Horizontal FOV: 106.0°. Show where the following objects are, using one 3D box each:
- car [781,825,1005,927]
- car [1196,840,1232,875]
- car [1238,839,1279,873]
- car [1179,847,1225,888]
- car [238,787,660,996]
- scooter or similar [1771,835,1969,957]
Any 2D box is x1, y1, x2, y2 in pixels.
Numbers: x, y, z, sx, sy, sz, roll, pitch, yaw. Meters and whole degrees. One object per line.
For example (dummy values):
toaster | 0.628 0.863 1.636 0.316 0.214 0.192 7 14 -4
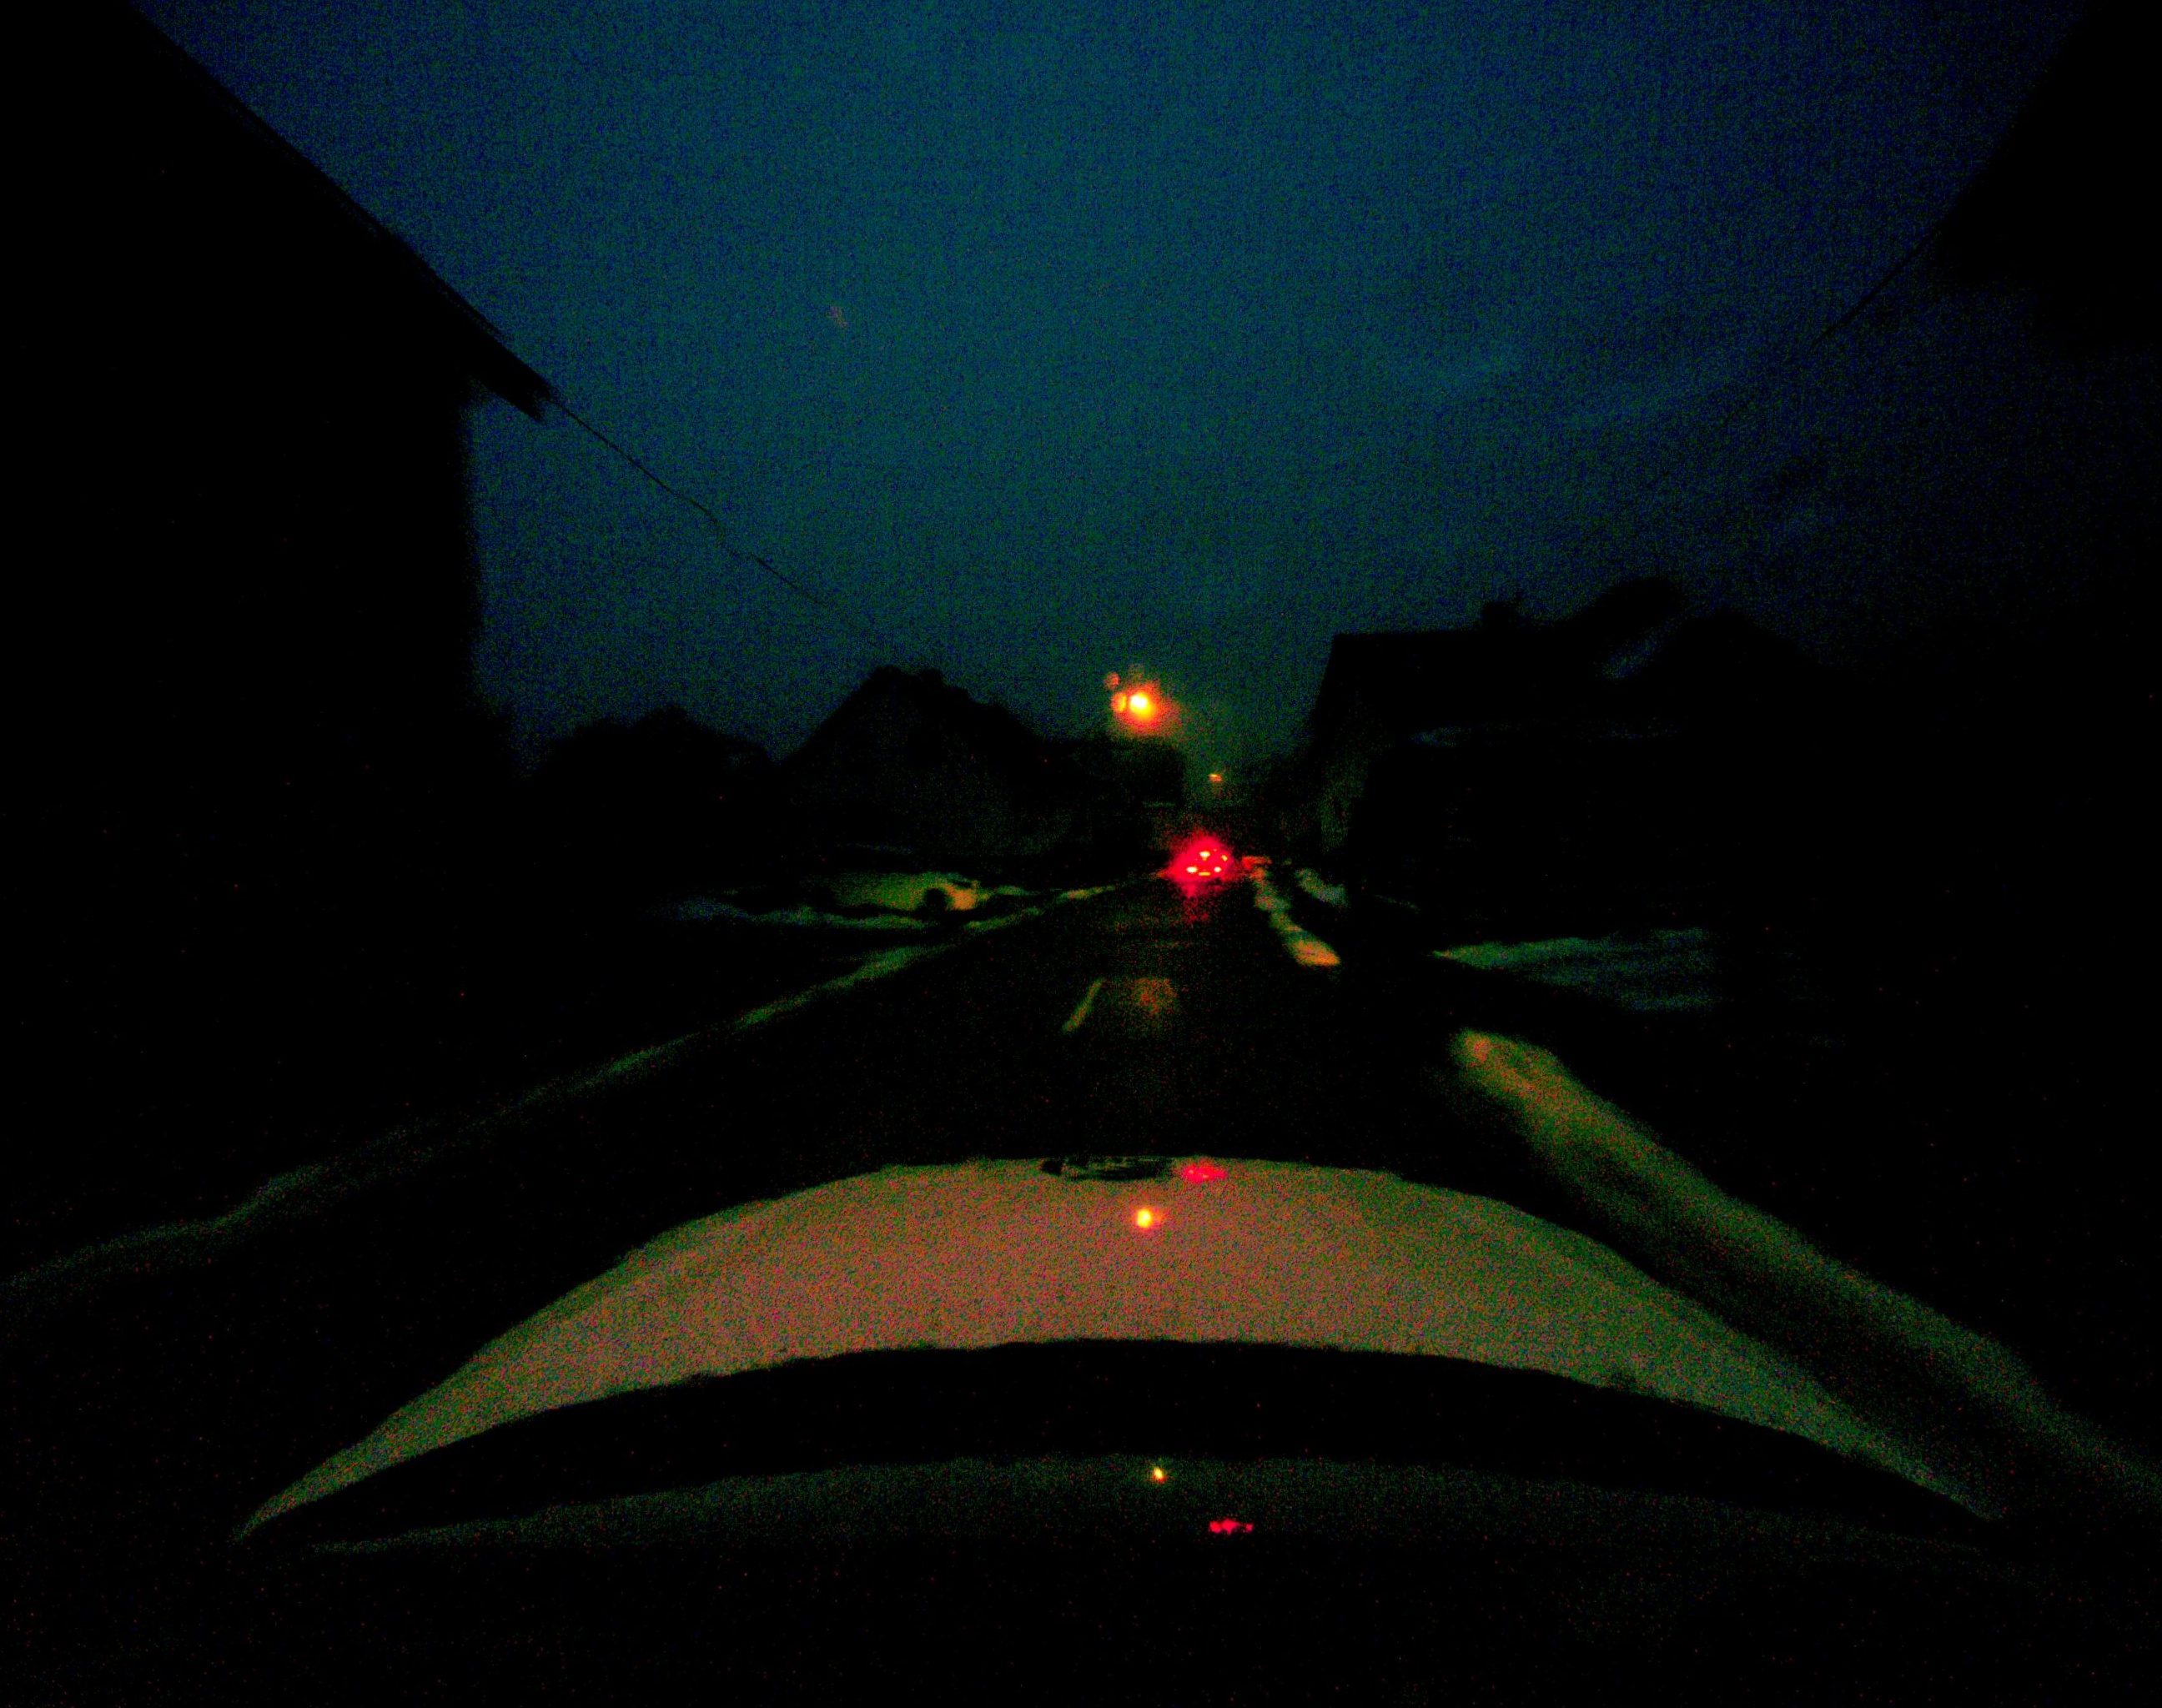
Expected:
car | -4.493 0.518 19.741 4.698 2.013 2.009 -4 3 14
car | 8.694 0.195 52.842 1.980 1.837 4.015 -4 3 12
car | 11.352 0.109 51.822 2.234 1.639 4.871 -4 3 15
car | 5.823 0.597 38.871 1.981 1.507 4.013 -4 3 10
car | -8.457 0.381 11.425 3.997 2.276 1.989 -6 3 -17
scooter or similar | 8.646 0.405 9.025 0.611 1.126 1.630 -5 3 1
